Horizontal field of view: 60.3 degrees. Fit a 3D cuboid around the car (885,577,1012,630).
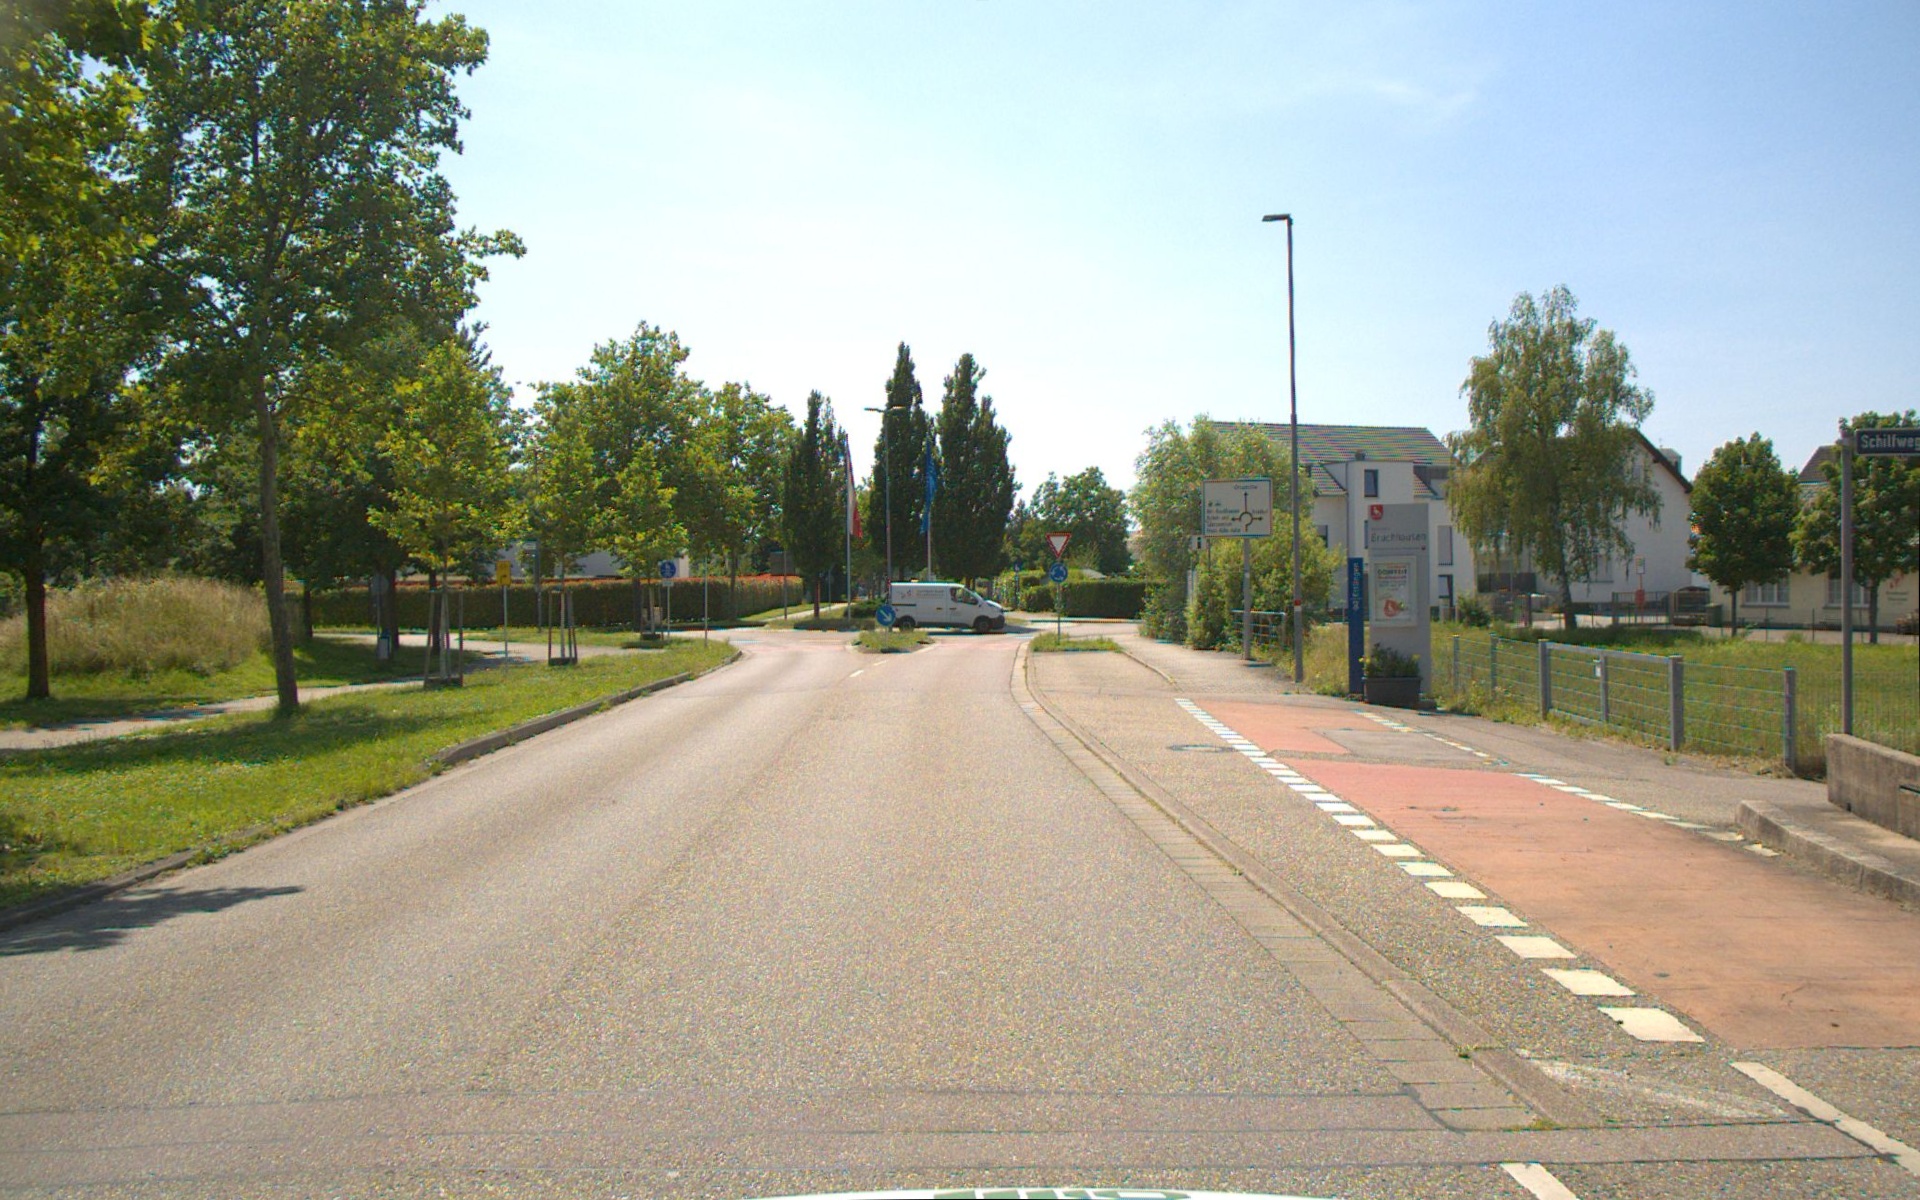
[{"bbox_3d":[-0.465,0.130,66.776,5.027,2.049,2.134,1,0,0],"label":"car"}]
